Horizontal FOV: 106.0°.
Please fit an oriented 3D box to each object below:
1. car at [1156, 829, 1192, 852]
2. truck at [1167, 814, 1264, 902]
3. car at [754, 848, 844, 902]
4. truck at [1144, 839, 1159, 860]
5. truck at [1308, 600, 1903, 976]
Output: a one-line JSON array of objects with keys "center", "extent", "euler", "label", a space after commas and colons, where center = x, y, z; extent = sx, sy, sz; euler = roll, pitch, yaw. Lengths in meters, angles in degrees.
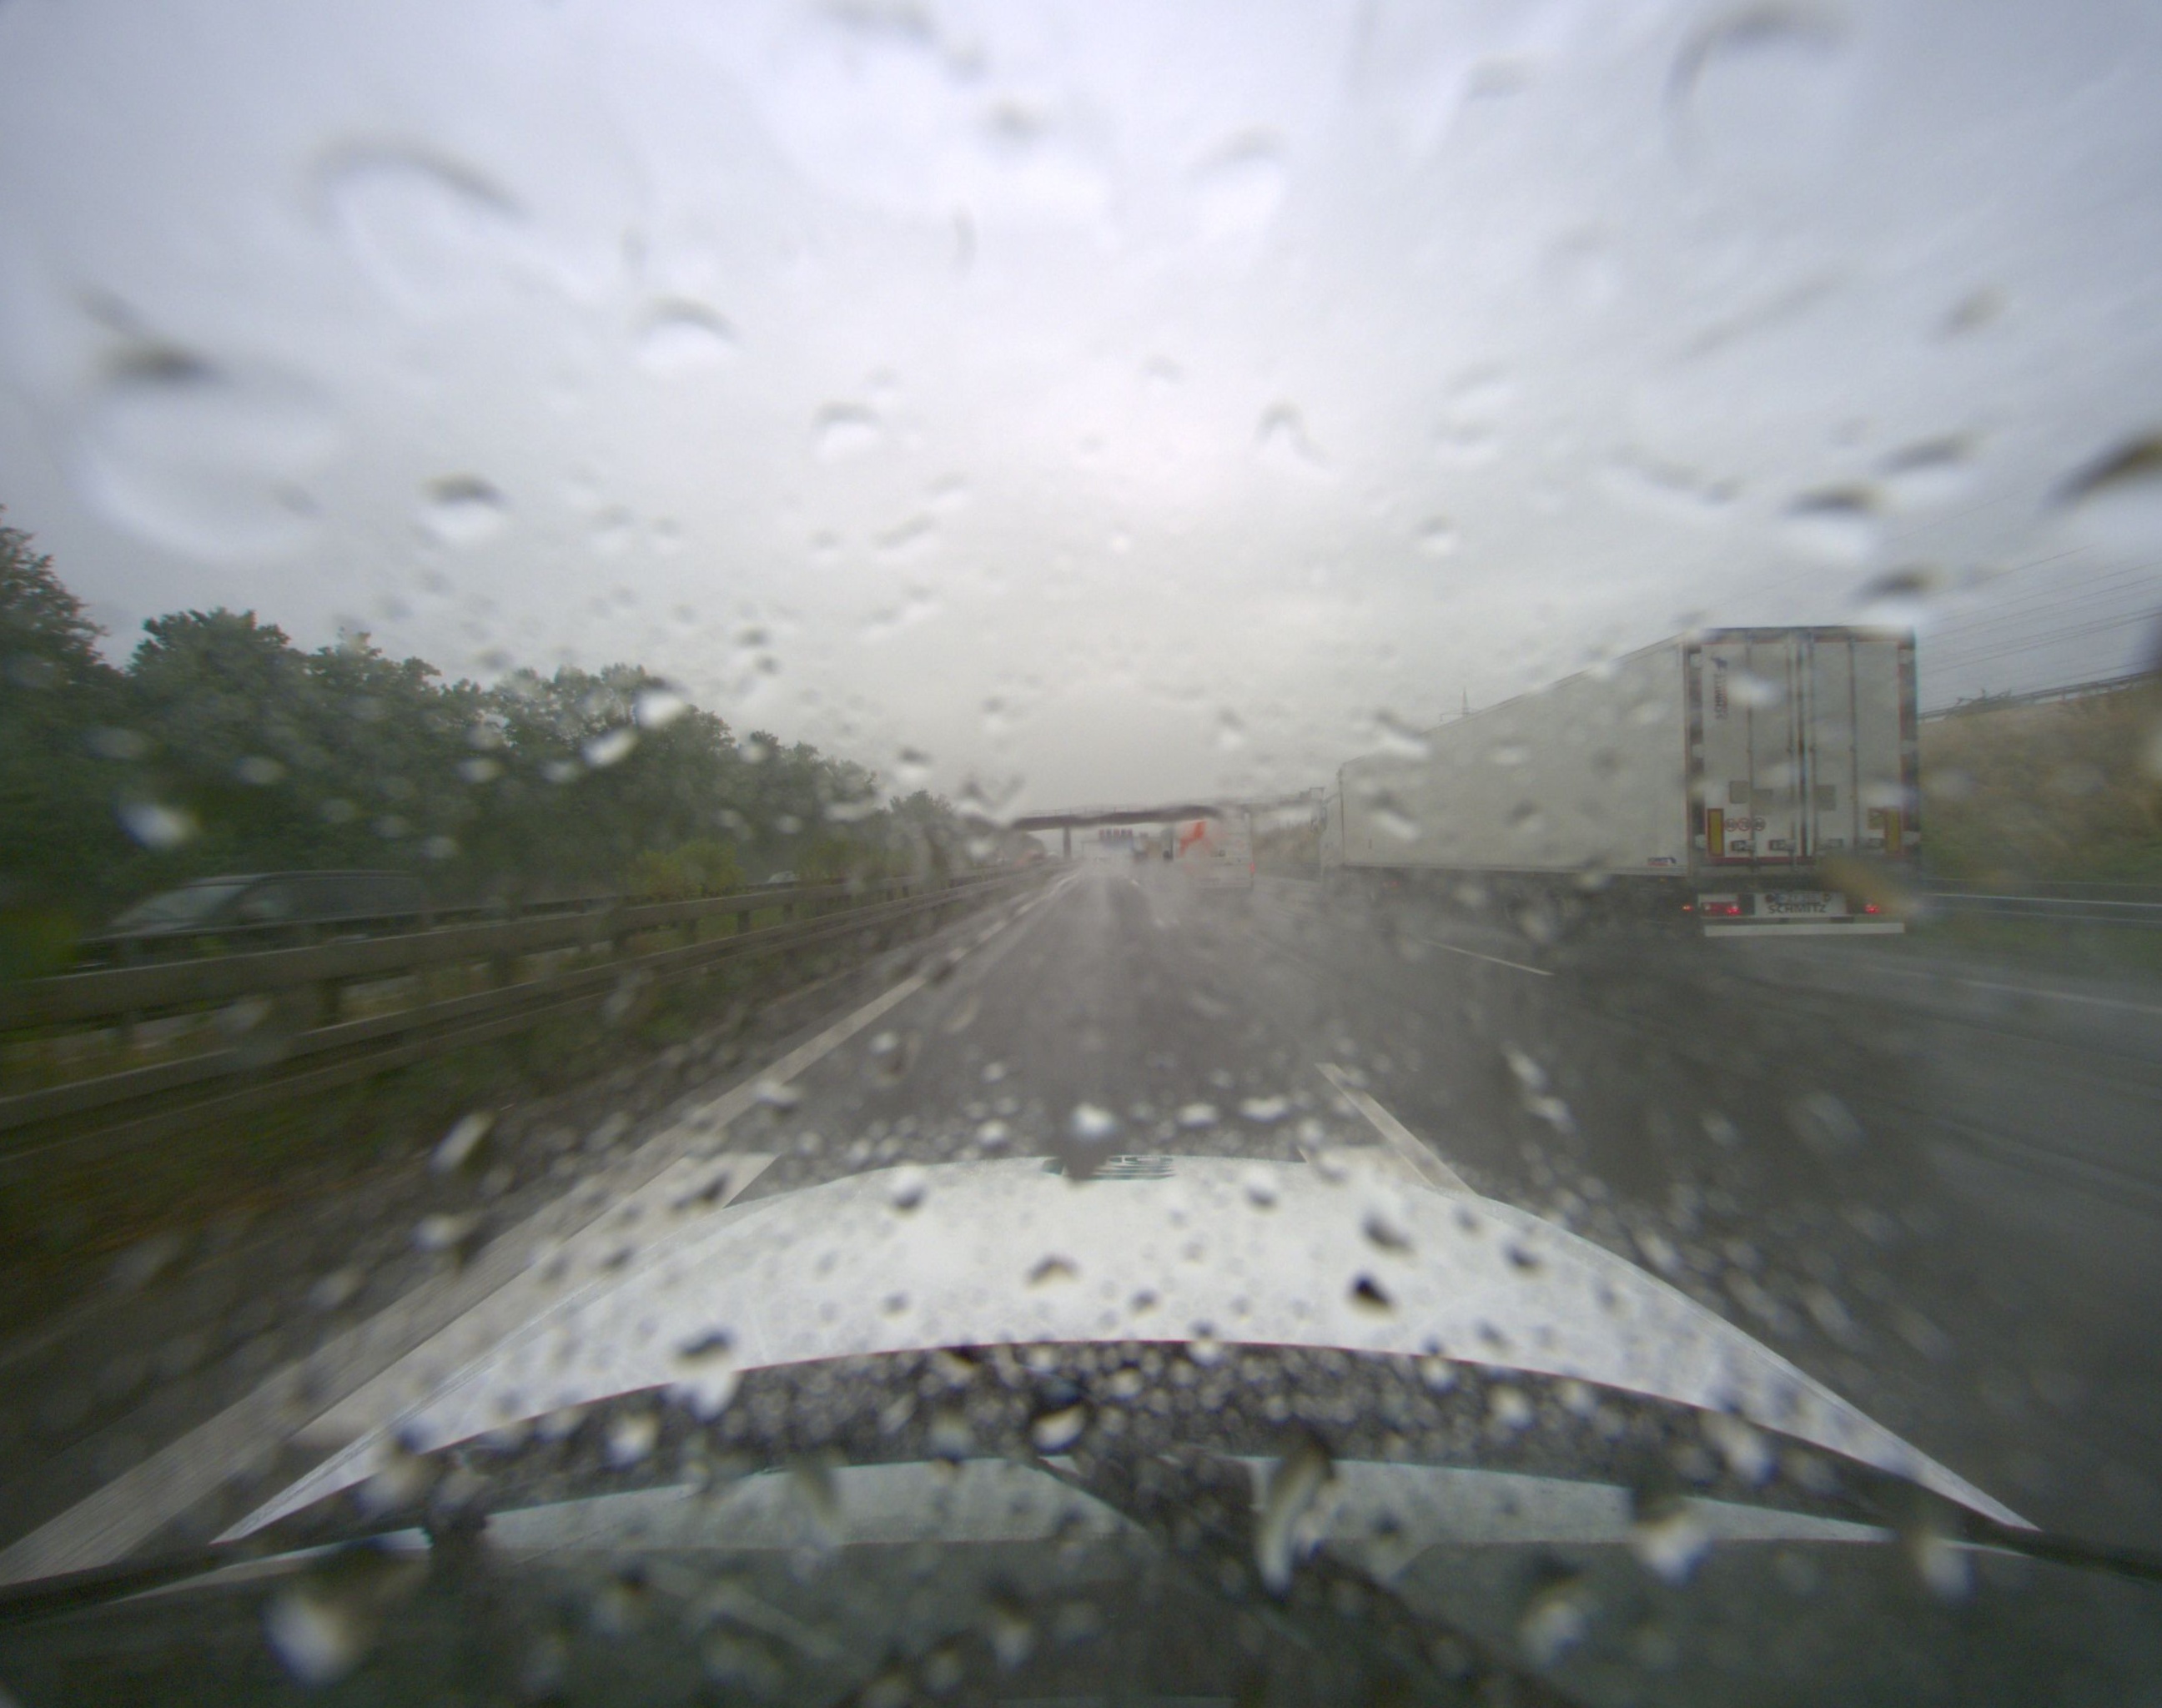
[{"center": [8.393, -1.228, 73.827], "extent": [2.778, 2.013, 4.995], "euler": [-1, 1, 2], "label": "car"}, {"center": [4.139, 0.042, 26.101], "extent": [2.410, 2.492, 5.564], "euler": [-1, 1, 2], "label": "truck"}, {"center": [-10.540, 0.760, 30.807], "extent": [1.906, 1.859, 4.308], "euler": [-1, -1, 0], "label": "car"}, {"center": [11.831, -0.820, 136.766], "extent": [2.102, 3.516, 5.248], "euler": [-1, 1, 0], "label": "truck"}, {"center": [8.724, -0.871, 18.187], "extent": [3.029, 4.588, 16.354], "euler": [-1, 0, 1], "label": "truck"}]
